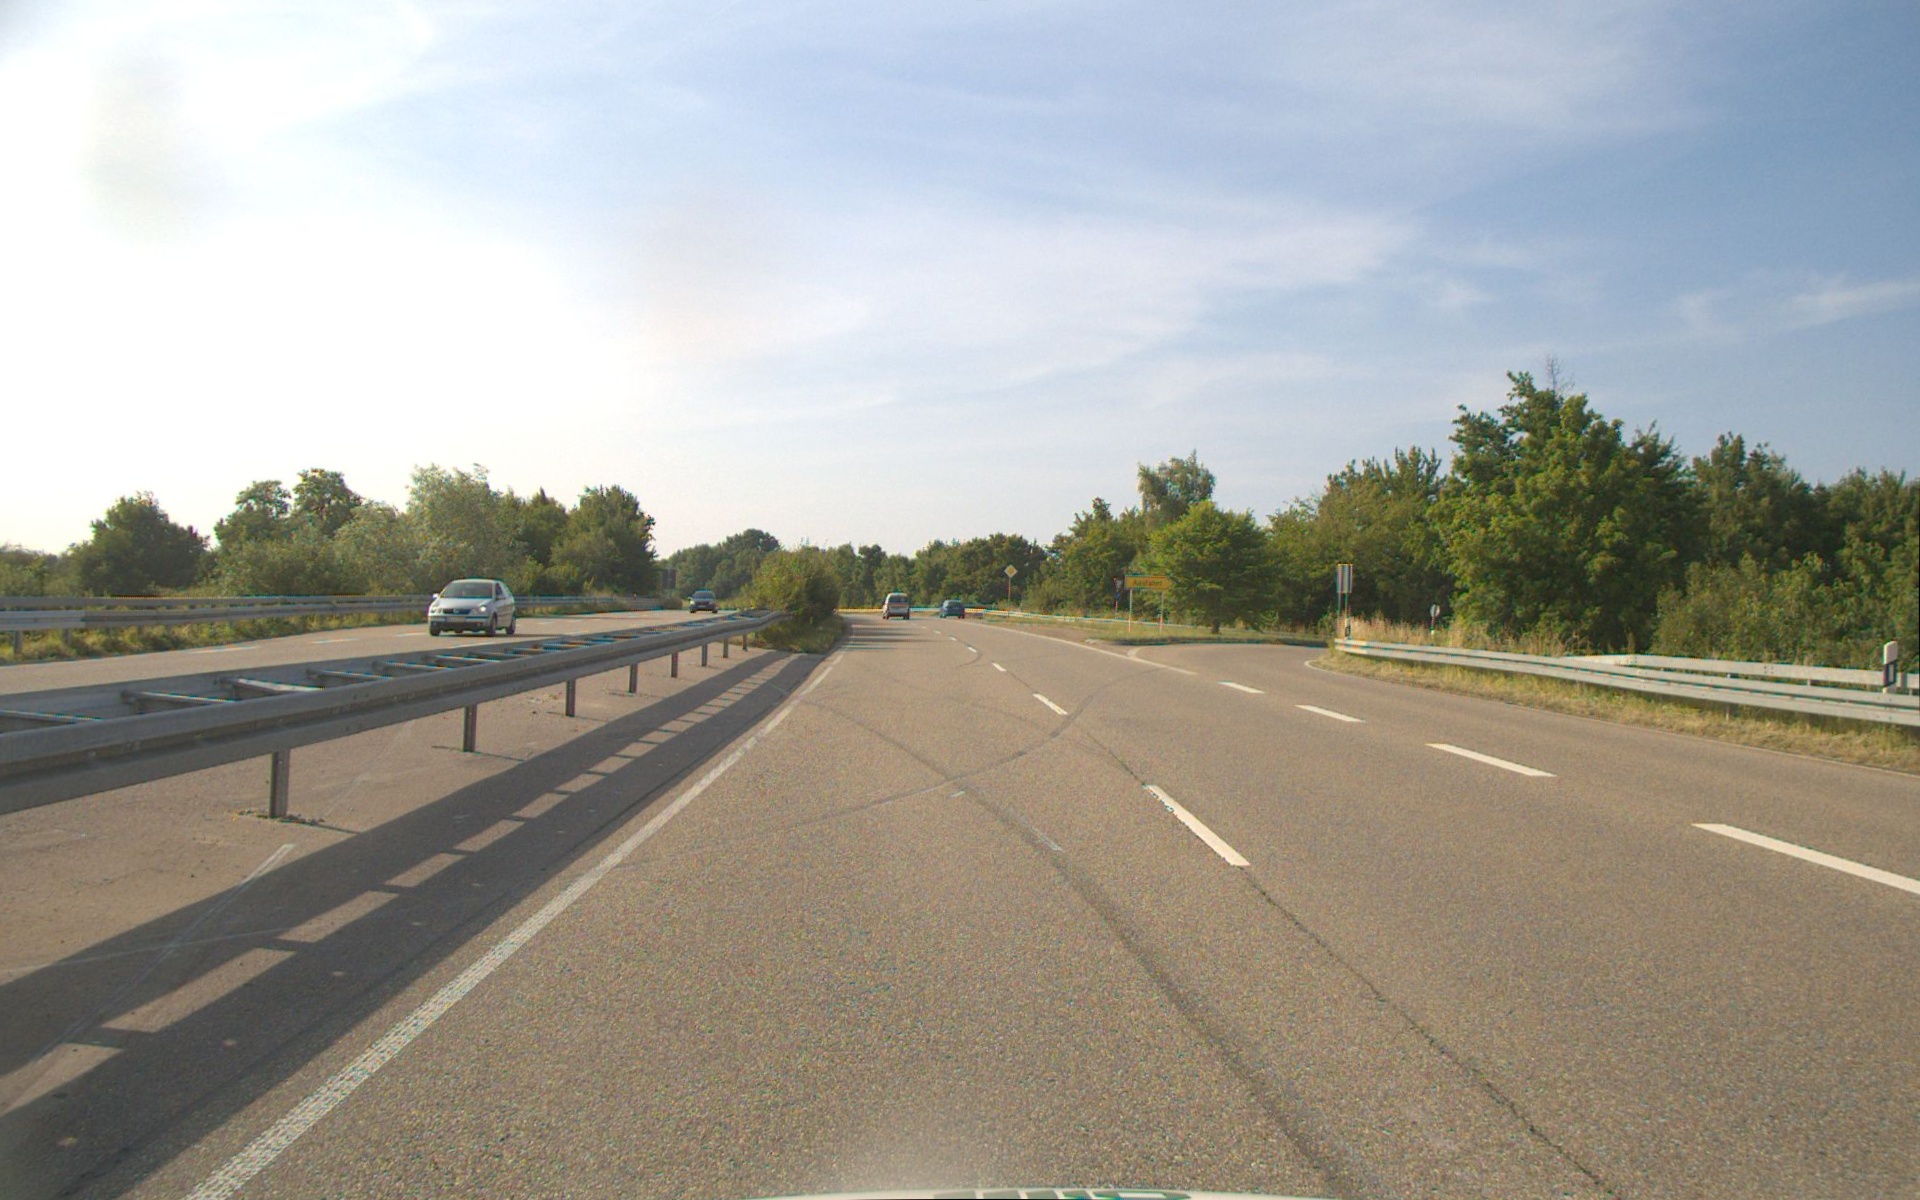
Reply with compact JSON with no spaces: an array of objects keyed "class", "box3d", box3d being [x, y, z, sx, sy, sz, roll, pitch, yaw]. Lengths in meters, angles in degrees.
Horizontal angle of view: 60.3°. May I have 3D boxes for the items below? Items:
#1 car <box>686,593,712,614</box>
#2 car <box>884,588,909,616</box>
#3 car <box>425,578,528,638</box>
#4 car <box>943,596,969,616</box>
[{"class":"car","box3d":[-17.182,0.241,108.930,1.459,1.321,3.264,1,-1,-5]},{"class":"car","box3d":[-4.519,0.155,117.781,1.730,1.915,3.998,1,-1,-2]},{"class":"car","box3d":[-12.706,0.175,43.688,1.607,1.445,3.999,2,1,-2]},{"class":"car","box3d":[-0.347,0.507,136.235,1.744,1.477,3.995,1,-1,-5]}]
